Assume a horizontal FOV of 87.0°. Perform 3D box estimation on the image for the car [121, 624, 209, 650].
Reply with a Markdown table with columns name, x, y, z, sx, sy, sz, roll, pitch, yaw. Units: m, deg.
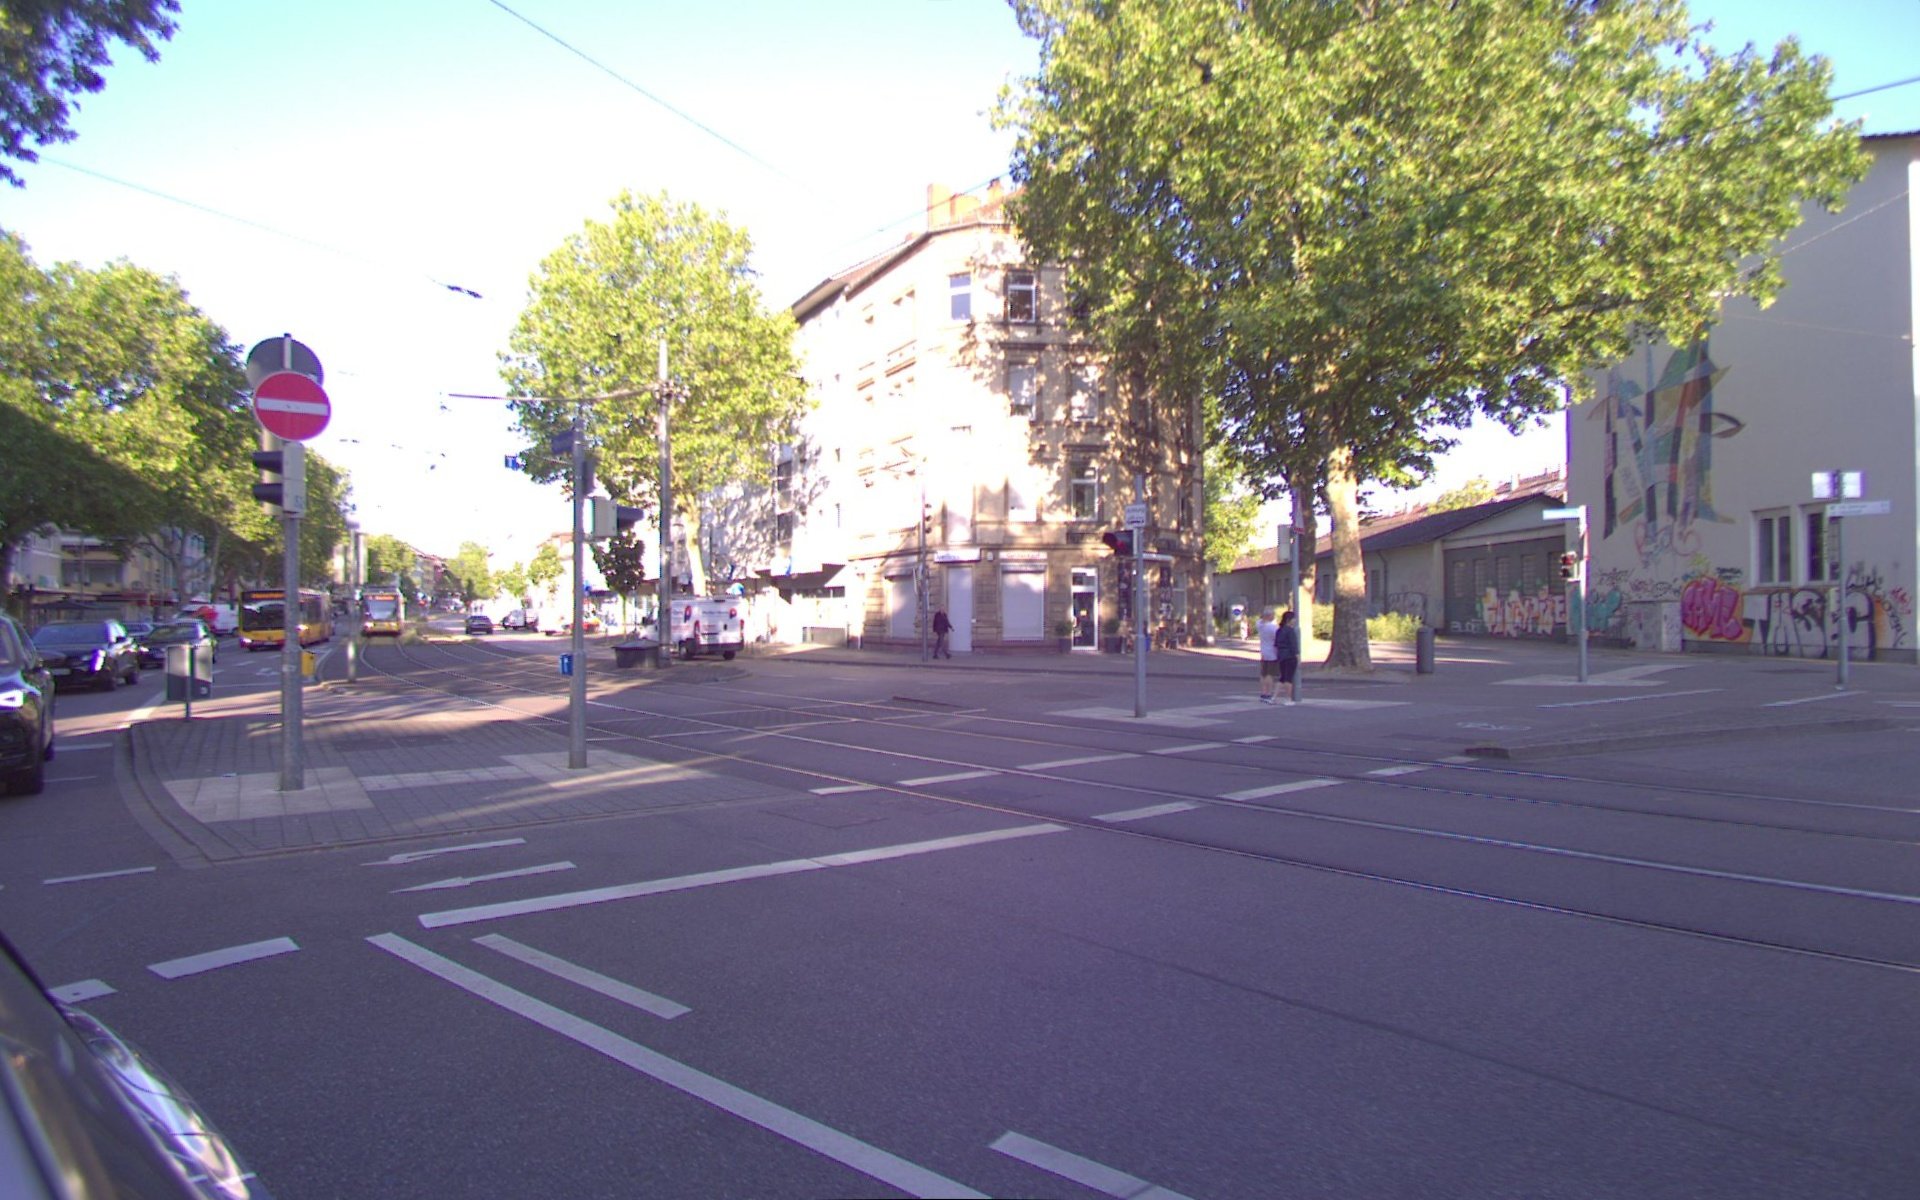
| name | x | y | z | sx | sy | sz | roll | pitch | yaw |
| --- | --- | --- | --- | --- | --- | --- | --- | --- | --- |
| car | -48.619 | 2.246 | 62.010 | 1.647 | 1.447 | 3.973 | 1 | -1 | 20 |

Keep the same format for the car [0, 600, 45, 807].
| name | x | y | z | sx | sy | sz | roll | pitch | yaw |
| --- | --- | --- | --- | --- | --- | --- | --- | --- | --- |
| car | -9.585 | 0.854 | 8.999 | 3.999 | 1.660 | 1.784 | -1 | -1 | 42 |

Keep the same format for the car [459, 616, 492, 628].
| name | x | y | z | sx | sy | sz | roll | pitch | yaw |
| --- | --- | --- | --- | --- | --- | --- | --- | --- | --- |
| car | -68.996 | 3.163 | 144.253 | 1.767 | 1.501 | 3.867 | -2 | 0 | 37 |

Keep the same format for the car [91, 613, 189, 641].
| name | x | y | z | sx | sy | sz | roll | pitch | yaw |
| --- | --- | --- | --- | --- | --- | --- | --- | --- | --- |
| car | -45.066 | 1.482 | 55.736 | 1.645 | 1.447 | 3.978 | 1 | -1 | 17 |

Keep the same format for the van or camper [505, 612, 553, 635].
| name | x | y | z | sx | sy | sz | roll | pitch | yaw |
| --- | --- | --- | --- | --- | --- | --- | --- | --- | --- |
| van or camper | -40.864 | 2.189 | 96.104 | 1.784 | 2.004 | 4.429 | -2 | 0 | 15 |

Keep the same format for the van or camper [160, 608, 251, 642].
| name | x | y | z | sx | sy | sz | roll | pitch | yaw |
| --- | --- | --- | --- | --- | --- | --- | --- | --- | --- |
| van or camper | -57.358 | 1.899 | 77.043 | 1.985 | 2.488 | 5.427 | -1 | -1 | 20 |

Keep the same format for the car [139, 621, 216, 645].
| name | x | y | z | sx | sy | sz | roll | pitch | yaw |
| --- | --- | --- | --- | --- | --- | --- | --- | --- | --- |
| car | -54.177 | 2.275 | 70.146 | 1.647 | 1.575 | 3.973 | 1 | -1 | 20 |

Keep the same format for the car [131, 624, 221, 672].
| name | x | y | z | sx | sy | sz | roll | pitch | yaw |
| --- | --- | --- | --- | --- | --- | --- | --- | --- | --- |
| car | -26.923 | 1.592 | 34.882 | 1.631 | 1.497 | 4.174 | 0 | -1 | -26 |

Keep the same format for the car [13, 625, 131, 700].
| name | x | y | z | sx | sy | sz | roll | pitch | yaw |
| --- | --- | --- | --- | --- | --- | --- | --- | --- | --- |
| car | -20.783 | 1.391 | 23.827 | 1.632 | 1.593 | 4.010 | 0 | -1 | -35 |

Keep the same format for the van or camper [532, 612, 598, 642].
| name | x | y | z | sx | sy | sz | roll | pitch | yaw |
| --- | --- | --- | --- | --- | --- | --- | --- | --- | --- |
| van or camper | -28.877 | 1.957 | 74.144 | 1.935 | 1.912 | 4.788 | -2 | 0 | 17 |

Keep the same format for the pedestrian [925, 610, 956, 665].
| name | x | y | z | sx | sy | sz | roll | pitch | yaw |
| --- | --- | --- | --- | --- | --- | --- | --- | --- | --- |
| pedestrian | -0.666 | 1.238 | 33.855 | 0.610 | 1.801 | 0.974 | -2 | 0 | -25 |

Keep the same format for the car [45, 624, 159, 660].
| name | x | y | z | sx | sy | sz | roll | pitch | yaw |
| --- | --- | --- | --- | --- | --- | --- | --- | --- | --- |
| car | -41.698 | 2.014 | 49.289 | 1.791 | 1.618 | 3.984 | -1 | -1 | 12 |

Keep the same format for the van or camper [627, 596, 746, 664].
| name | x | y | z | sx | sy | sz | roll | pitch | yaw |
| --- | --- | --- | --- | --- | --- | --- | --- | --- | --- |
| van or camper | -10.223 | 1.143 | 37.583 | 2.141 | 2.337 | 5.109 | 2 | -3 | -43 |

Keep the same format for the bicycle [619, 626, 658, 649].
| name | x | y | z | sx | sy | sz | roll | pitch | yaw |
| --- | --- | --- | --- | --- | --- | --- | --- | --- | --- |
| bicycle | -16.898 | 1.957 | 53.203 | 1.868 | 1.133 | 0.535 | -1 | 0 | -32 |

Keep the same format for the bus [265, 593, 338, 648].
| name | x | y | z | sx | sy | sz | roll | pitch | yaw |
| --- | --- | --- | --- | --- | --- | --- | --- | --- | --- |
| bus | -41.330 | 1.142 | 63.863 | 2.825 | 3.001 | 12.279 | -3 | 1 | -29 |

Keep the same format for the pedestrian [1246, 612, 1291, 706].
| name | x | y | z | sx | sy | sz | roll | pitch | yaw |
| --- | --- | --- | --- | --- | --- | --- | --- | --- | --- |
| pedestrian | 5.128 | 0.963 | 16.820 | 0.591 | 1.515 | 0.516 | -1 | -1 | 31 |

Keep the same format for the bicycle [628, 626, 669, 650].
| name | x | y | z | sx | sy | sz | roll | pitch | yaw |
| --- | --- | --- | --- | --- | --- | --- | --- | --- | --- |
| bicycle | -15.830 | 1.935 | 51.437 | 1.868 | 1.133 | 0.654 | -1 | 0 | -32 |

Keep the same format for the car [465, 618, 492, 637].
| name | x | y | z | sx | sy | sz | roll | pitch | yaw |
| --- | --- | --- | --- | --- | --- | --- | --- | --- | --- |
| car | -37.791 | 2.137 | 79.359 | 1.859 | 1.483 | 4.220 | -1 | -1 | -26 |

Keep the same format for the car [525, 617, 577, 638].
| name | x | y | z | sx | sy | sz | roll | pitch | yaw |
| --- | --- | --- | --- | --- | --- | --- | --- | --- | --- |
| car | -34.010 | 2.252 | 84.284 | 1.752 | 1.501 | 4.433 | -2 | 0 | 13 |

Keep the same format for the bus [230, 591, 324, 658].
| name | x | y | z | sx | sy | sz | roll | pitch | yaw |
| --- | --- | --- | --- | --- | --- | --- | --- | --- | --- |
| bus | -35.505 | 1.132 | 53.029 | 2.825 | 3.001 | 12.279 | -3 | 1 | -29 |

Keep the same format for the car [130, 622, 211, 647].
| name | x | y | z | sx | sy | sz | roll | pitch | yaw |
| --- | --- | --- | --- | --- | --- | --- | --- | --- | --- |
| car | -52.510 | 2.280 | 67.389 | 1.647 | 1.534 | 3.973 | 1 | -1 | 20 |

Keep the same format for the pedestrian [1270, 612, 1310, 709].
| name | x | y | z | sx | sy | sz | roll | pitch | yaw |
| --- | --- | --- | --- | --- | --- | --- | --- | --- | --- |
| pedestrian | 5.278 | 0.960 | 16.175 | 0.515 | 1.515 | 0.405 | -1 | -1 | 31 |

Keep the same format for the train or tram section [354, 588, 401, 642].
| name | x | y | z | sx | sy | sz | roll | pitch | yaw |
| --- | --- | --- | --- | --- | --- | --- | --- | --- | --- |
| train or tram section | -40.997 | 1.046 | 71.453 | 2.595 | 3.476 | 11.164 | -2 | 0 | -29 |

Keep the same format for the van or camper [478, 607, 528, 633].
| name | x | y | z | sx | sy | sz | roll | pitch | yaw |
| --- | --- | --- | --- | --- | --- | --- | --- | --- | --- |
| van or camper | -51.432 | 2.193 | 114.158 | 1.977 | 2.687 | 6.383 | -2 | 0 | 8 |

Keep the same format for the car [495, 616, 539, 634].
| name | x | y | z | sx | sy | sz | roll | pitch | yaw |
| --- | --- | --- | --- | --- | --- | --- | --- | --- | --- |
| car | -44.600 | 2.542 | 101.937 | 1.863 | 1.598 | 3.979 | -2 | 0 | 16 |

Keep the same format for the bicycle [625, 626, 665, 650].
| name | x | y | z | sx | sy | sz | roll | pitch | yaw |
| --- | --- | --- | --- | --- | --- | --- | --- | --- | --- |
| bicycle | -16.243 | 1.942 | 52.128 | 1.868 | 1.133 | 0.535 | -1 | 0 | -32 |
